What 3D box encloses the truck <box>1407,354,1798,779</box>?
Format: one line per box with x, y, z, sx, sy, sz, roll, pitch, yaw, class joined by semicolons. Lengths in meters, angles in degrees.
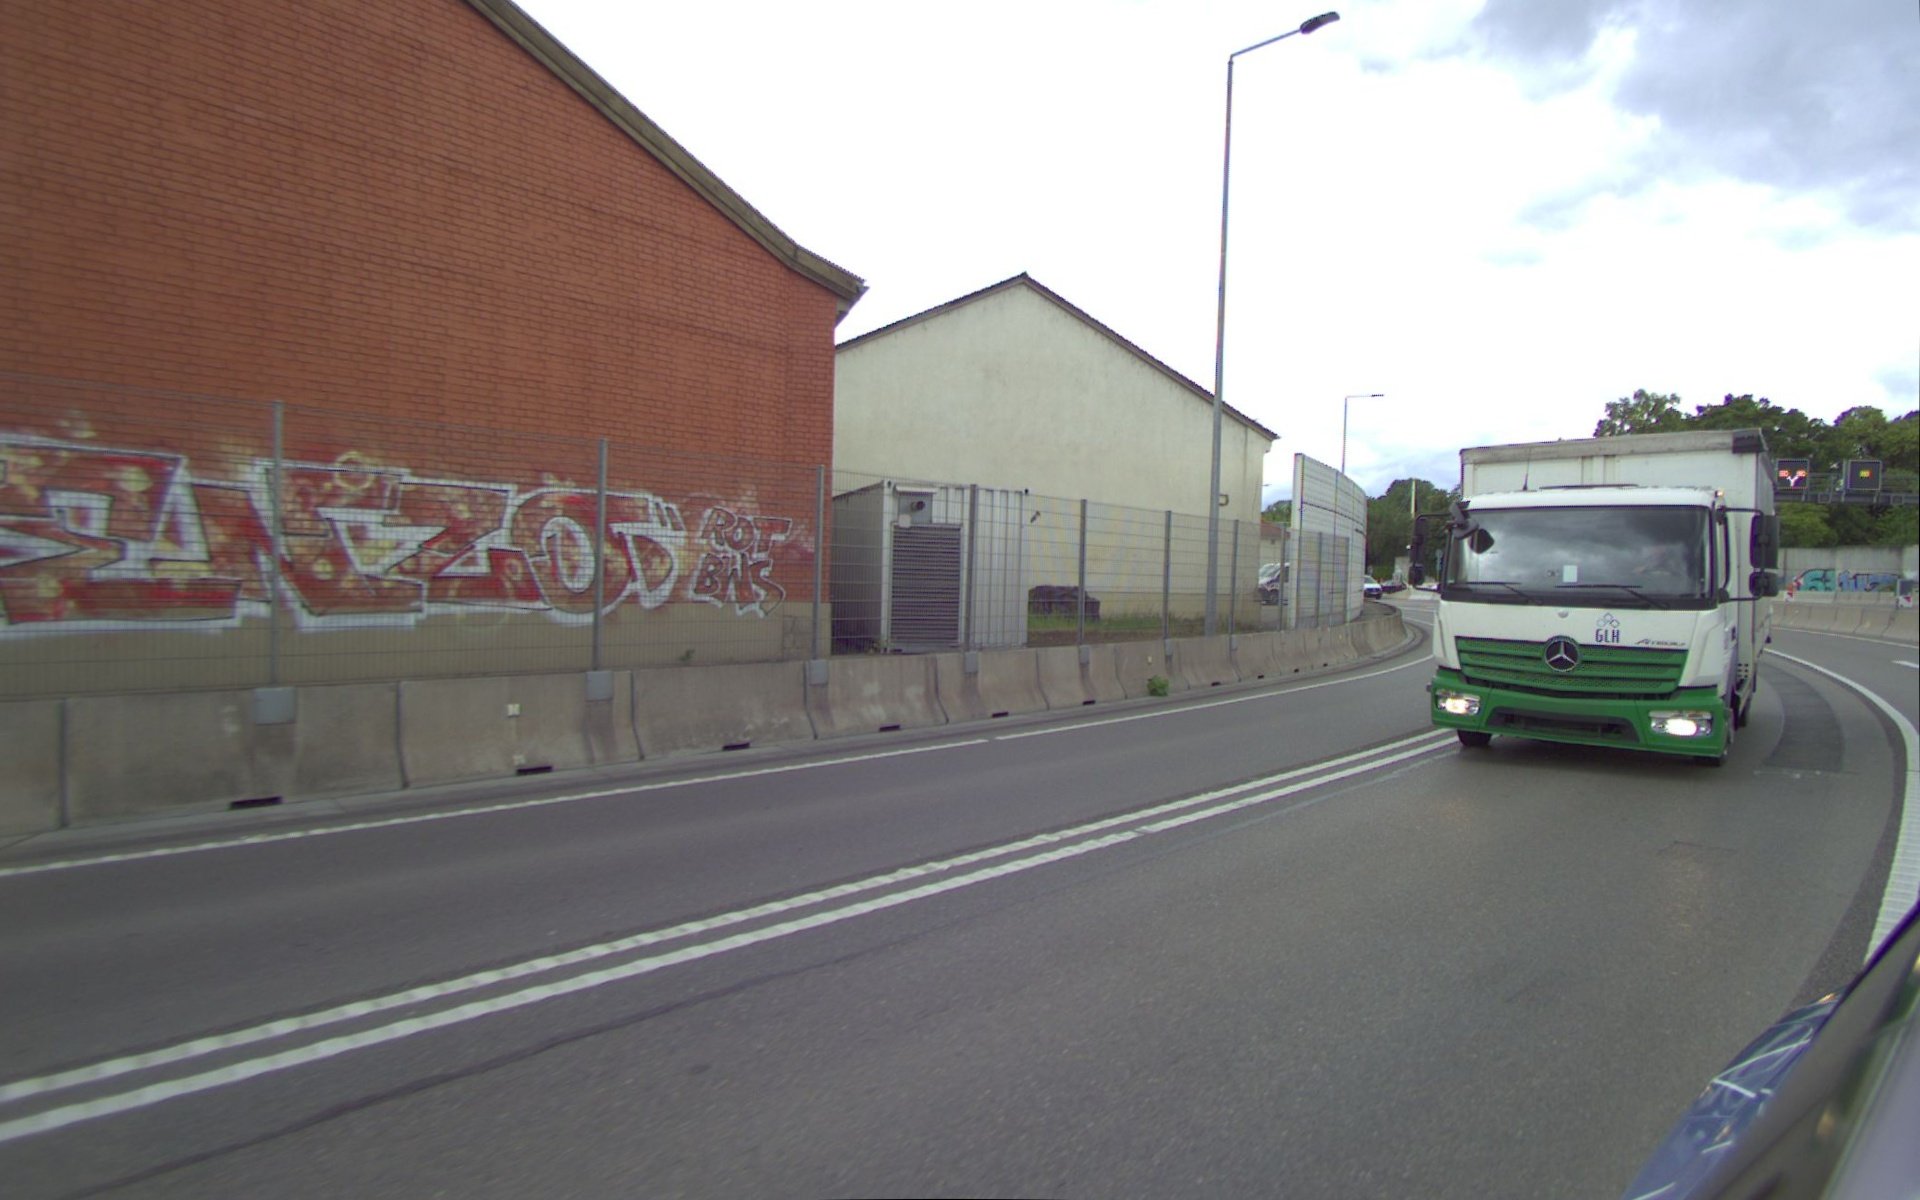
7.627;-0.270;11.450;2.627;3.280;7.306;-2;-1;41;truck
